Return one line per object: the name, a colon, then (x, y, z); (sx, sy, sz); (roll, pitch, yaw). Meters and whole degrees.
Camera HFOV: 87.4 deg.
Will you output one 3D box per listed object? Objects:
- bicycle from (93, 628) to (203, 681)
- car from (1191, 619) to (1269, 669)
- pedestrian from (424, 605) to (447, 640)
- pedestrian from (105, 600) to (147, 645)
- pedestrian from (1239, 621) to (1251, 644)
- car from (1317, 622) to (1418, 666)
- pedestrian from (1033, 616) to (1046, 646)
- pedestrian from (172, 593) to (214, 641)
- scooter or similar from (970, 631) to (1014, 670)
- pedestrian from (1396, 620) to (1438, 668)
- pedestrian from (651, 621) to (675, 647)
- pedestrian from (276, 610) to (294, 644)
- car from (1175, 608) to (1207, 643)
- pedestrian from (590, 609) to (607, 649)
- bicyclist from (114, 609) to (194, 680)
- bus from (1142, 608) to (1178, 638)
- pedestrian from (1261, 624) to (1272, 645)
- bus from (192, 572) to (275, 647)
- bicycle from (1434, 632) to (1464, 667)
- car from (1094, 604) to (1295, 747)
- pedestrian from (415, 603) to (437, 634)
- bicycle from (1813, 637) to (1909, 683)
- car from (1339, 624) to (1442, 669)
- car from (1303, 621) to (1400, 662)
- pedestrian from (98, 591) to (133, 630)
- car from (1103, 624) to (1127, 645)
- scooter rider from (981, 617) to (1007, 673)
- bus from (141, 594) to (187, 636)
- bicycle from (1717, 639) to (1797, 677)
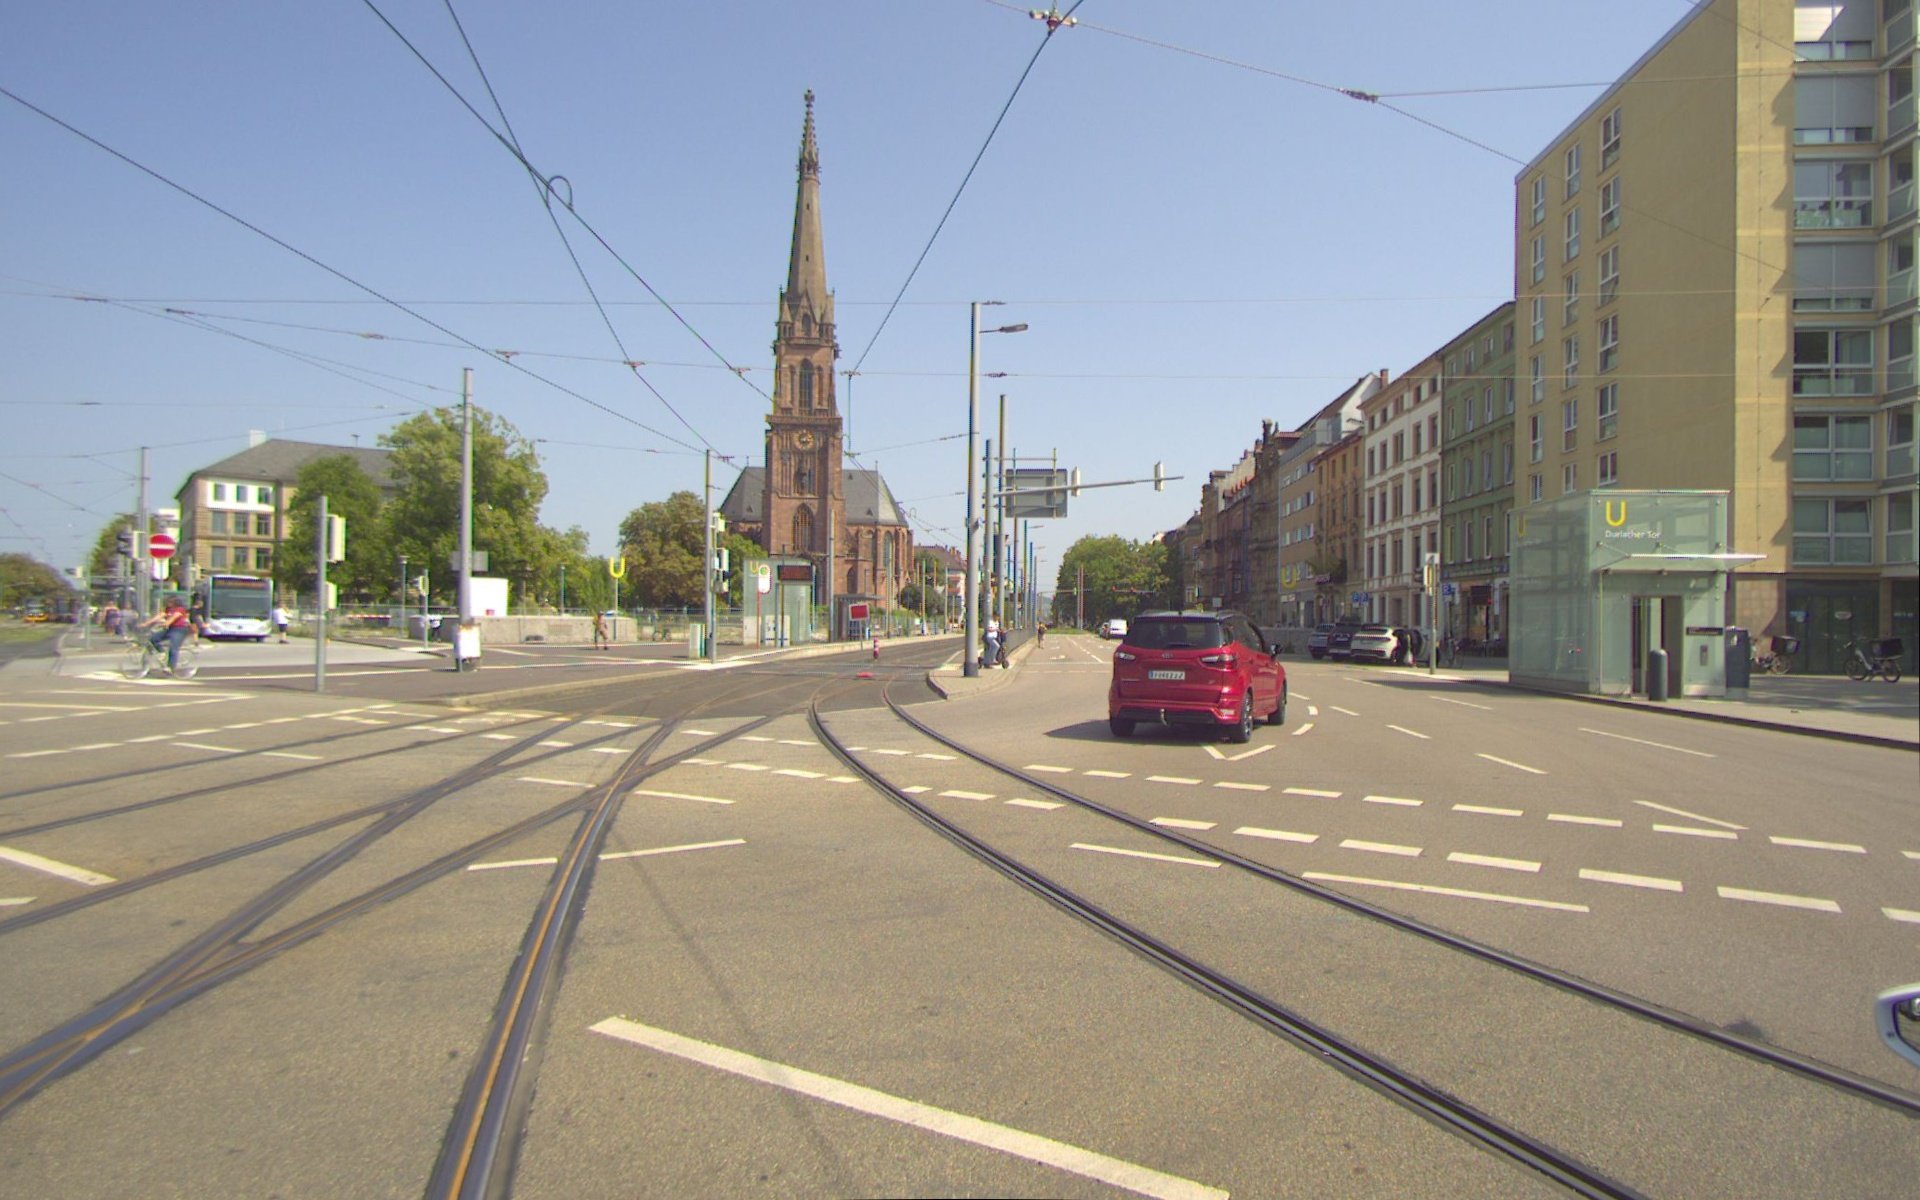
bicycle: (-17.347, 1.141, 21.532); (0.602, 1.083, 1.914); (0, -1, 8)
car: (8.444, 1.341, 31.698); (1.759, 1.450, 4.003); (1, -1, 6)
pedestrian: (-26.238, 1.129, 50.246); (0.669, 1.751, 0.780); (0, -2, 44)
pedestrian: (-34.156, 0.950, 41.154); (0.769, 1.803, 0.960); (1, -2, 8)
pedestrian: (22.287, 2.533, 78.491); (0.835, 1.752, 0.971); (0, 1, 12)
car: (17.092, 1.816, 42.083); (4.351, 1.710, 1.966); (2, -1, -37)
pedestrian: (4.822, 1.876, 61.036); (0.748, 1.774, 1.070); (1, -2, 5)
pedestrian: (-29.155, 0.659, 38.195); (0.769, 1.803, 0.960); (1, -2, 8)
scooter or similar: (0.986, 1.526, 30.490); (1.315, 1.164, 0.709); (1, -1, 3)
pedestrian: (16.979, 1.623, 37.339); (1.023, 1.726, 0.900); (3, -1, -21)
pedestrian: (-18.064, 2.059, 61.105); (1.673, 1.505, 0.611); (0, -1, 41)
pedestrian: (-31.488, 1.274, 46.853); (0.572, 1.548, 0.593); (3, -3, -40)
car: (20.008, 2.249, 87.071); (2.259, 2.926, 5.603); (0, -1, 9)
pedestrian: (-15.420, 1.231, 42.807); (0.564, 1.681, 0.799); (1, 1, -13)
bicyclist: (-17.317, 0.950, 21.603); (0.860, 1.479, 0.981); (0, -1, 9)
bus: (22.152, 2.641, 111.784); (2.491, 3.071, 12.444); (1, -2, 5)
pedestrian: (25.171, 2.835, 82.526); (0.685, 1.689, 0.603); (1, -1, 7)
bus: (-36.943, 0.494, 50.818); (2.655, 3.375, 12.613); (2, -2, -39)
bicycle: (18.951, 1.915, 38.949); (0.465, 1.313, 1.793); (0, -2, 7)
car: (3.357, 0.893, 13.764); (1.735, 1.639, 4.077); (0, -1, 27)
pedestrian: (-27.728, 0.938, 52.120); (0.669, 1.568, 0.780); (0, -3, 44)
bicycle: (26.153, 1.710, 29.216); (0.778, 1.255, 2.436); (1, -1, 5)
car: (16.660, 1.803, 38.854); (3.743, 1.520, 1.792); (4, -1, -31)
car: (17.865, 1.884, 45.761); (4.622, 1.736, 2.023); (2, -1, -37)
pedestrian: (-40.835, 0.511, 48.572); (0.940, 1.803, 0.786); (1, -2, 11)
car: (13.788, 3.079, 89.531); (1.760, 1.803, 4.003); (1, -2, 4)
scooter rider: (1.027, 1.384, 30.875); (0.758, 1.695, 0.779); (1, -1, 0)
bus: (-66.802, 1.172, 84.204); (2.522, 3.072, 12.286); (0, 1, -41)
bicycle: (25.847, 1.863, 32.618); (1.931, 1.158, 0.596); (1, -1, 20)
